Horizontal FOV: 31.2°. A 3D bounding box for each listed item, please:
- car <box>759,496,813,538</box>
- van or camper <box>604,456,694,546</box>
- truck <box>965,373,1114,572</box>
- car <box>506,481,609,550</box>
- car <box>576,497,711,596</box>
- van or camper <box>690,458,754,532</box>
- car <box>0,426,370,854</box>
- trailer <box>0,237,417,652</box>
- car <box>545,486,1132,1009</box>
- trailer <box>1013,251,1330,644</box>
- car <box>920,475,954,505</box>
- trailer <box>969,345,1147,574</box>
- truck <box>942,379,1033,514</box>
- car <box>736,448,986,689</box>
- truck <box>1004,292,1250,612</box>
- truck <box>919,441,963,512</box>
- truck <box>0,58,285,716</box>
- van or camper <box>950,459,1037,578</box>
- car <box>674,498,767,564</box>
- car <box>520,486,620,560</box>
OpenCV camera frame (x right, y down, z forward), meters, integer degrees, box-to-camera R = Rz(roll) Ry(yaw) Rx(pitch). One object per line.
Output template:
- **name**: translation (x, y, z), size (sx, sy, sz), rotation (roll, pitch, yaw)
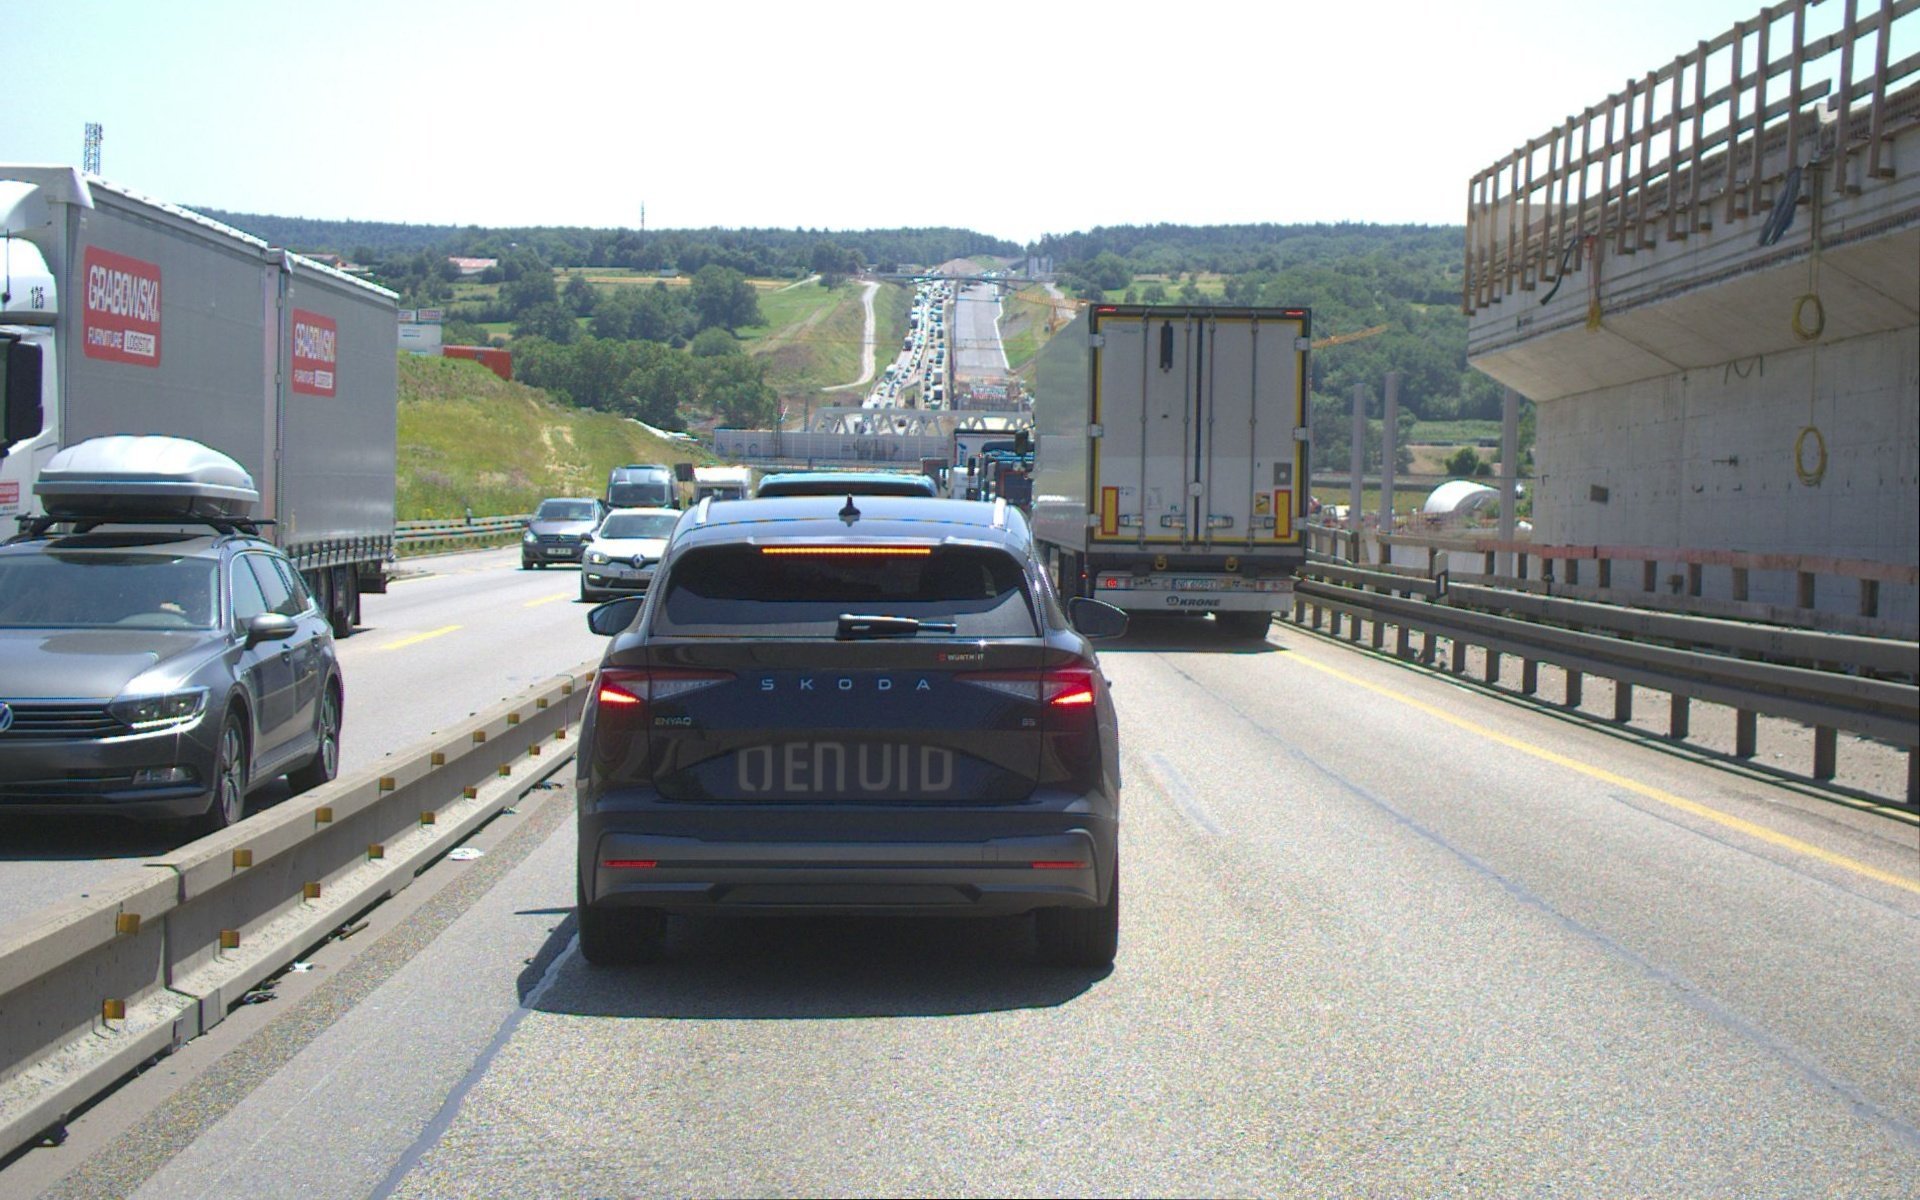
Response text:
- **car**: translation (-6.421, -3.090, 127.432), size (1.842, 1.470, 4.835), rotation (1, 2, -1)
- **van or camper**: translation (-9.290, -2.988, 103.170), size (2.140, 2.564, 6.565), rotation (1, 2, -1)
- **truck**: translation (1.829, -2.959, 82.733), size (3.180, 4.497, 8.166), rotation (1, 1, -1)
- **car**: translation (-8.974, -1.877, 76.932), size (1.993, 1.469, 4.001), rotation (1, 1, -3)
- **car**: translation (-4.892, -0.849, 53.578), size (1.802, 1.459, 4.000), rotation (1, 1, -1)
- **van or camper**: translation (-10.109, -4.464, 146.449), size (2.291, 3.056, 6.925), rotation (1, 2, -1)
- **car**: translation (-4.287, 0.108, 17.445), size (1.849, 1.883, 4.502), rotation (1, 2, -1)
- **trailer**: translation (-8.008, -1.598, 37.634), size (2.929, 3.975, 8.707), rotation (1, 1, -2)
- **car**: translation (-0.388, 0.416, 12.676), size (1.802, 1.602, 4.000), rotation (1, 1, 0)
- **trailer**: translation (2.542, -2.003, 46.334), size (3.180, 4.497, 13.110), rotation (1, 2, -1)
- **car**: translation (-1.246, -5.977, 186.778), size (1.813, 1.596, 4.574), rotation (1, 2, 0)
- **trailer**: translation (1.968, -2.876, 75.649), size (3.180, 4.497, 14.968), rotation (1, 1, -1)
- **truck**: translation (0.930, -5.459, 124.797), size (2.852, 4.449, 11.918), rotation (1, 1, -1)
- **car**: translation (-0.850, -0.284, 30.087), size (1.993, 1.919, 4.508), rotation (1, 1, -1)
- **truck**: translation (2.426, -2.250, 52.872), size (3.180, 4.497, 8.167), rotation (1, 2, -1)
- **truck**: translation (-1.201, -7.737, 216.606), size (2.639, 4.179, 9.284), rotation (1, 1, -1)
- **truck**: translation (-7.787, -1.547, 28.059), size (2.621, 4.381, 10.386), rotation (1, 1, -1)
- **van or camper**: translation (0.990, -2.302, 98.924), size (2.389, 3.269, 6.469), rotation (1, 1, 1)
- **car**: translation (-5.315, -1.554, 76.687), size (1.829, 1.428, 4.630), rotation (0, 2, -1)
- **car**: translation (-8.728, -1.742, 77.167), size (1.773, 1.576, 4.286), rotation (2, 2, -1)
